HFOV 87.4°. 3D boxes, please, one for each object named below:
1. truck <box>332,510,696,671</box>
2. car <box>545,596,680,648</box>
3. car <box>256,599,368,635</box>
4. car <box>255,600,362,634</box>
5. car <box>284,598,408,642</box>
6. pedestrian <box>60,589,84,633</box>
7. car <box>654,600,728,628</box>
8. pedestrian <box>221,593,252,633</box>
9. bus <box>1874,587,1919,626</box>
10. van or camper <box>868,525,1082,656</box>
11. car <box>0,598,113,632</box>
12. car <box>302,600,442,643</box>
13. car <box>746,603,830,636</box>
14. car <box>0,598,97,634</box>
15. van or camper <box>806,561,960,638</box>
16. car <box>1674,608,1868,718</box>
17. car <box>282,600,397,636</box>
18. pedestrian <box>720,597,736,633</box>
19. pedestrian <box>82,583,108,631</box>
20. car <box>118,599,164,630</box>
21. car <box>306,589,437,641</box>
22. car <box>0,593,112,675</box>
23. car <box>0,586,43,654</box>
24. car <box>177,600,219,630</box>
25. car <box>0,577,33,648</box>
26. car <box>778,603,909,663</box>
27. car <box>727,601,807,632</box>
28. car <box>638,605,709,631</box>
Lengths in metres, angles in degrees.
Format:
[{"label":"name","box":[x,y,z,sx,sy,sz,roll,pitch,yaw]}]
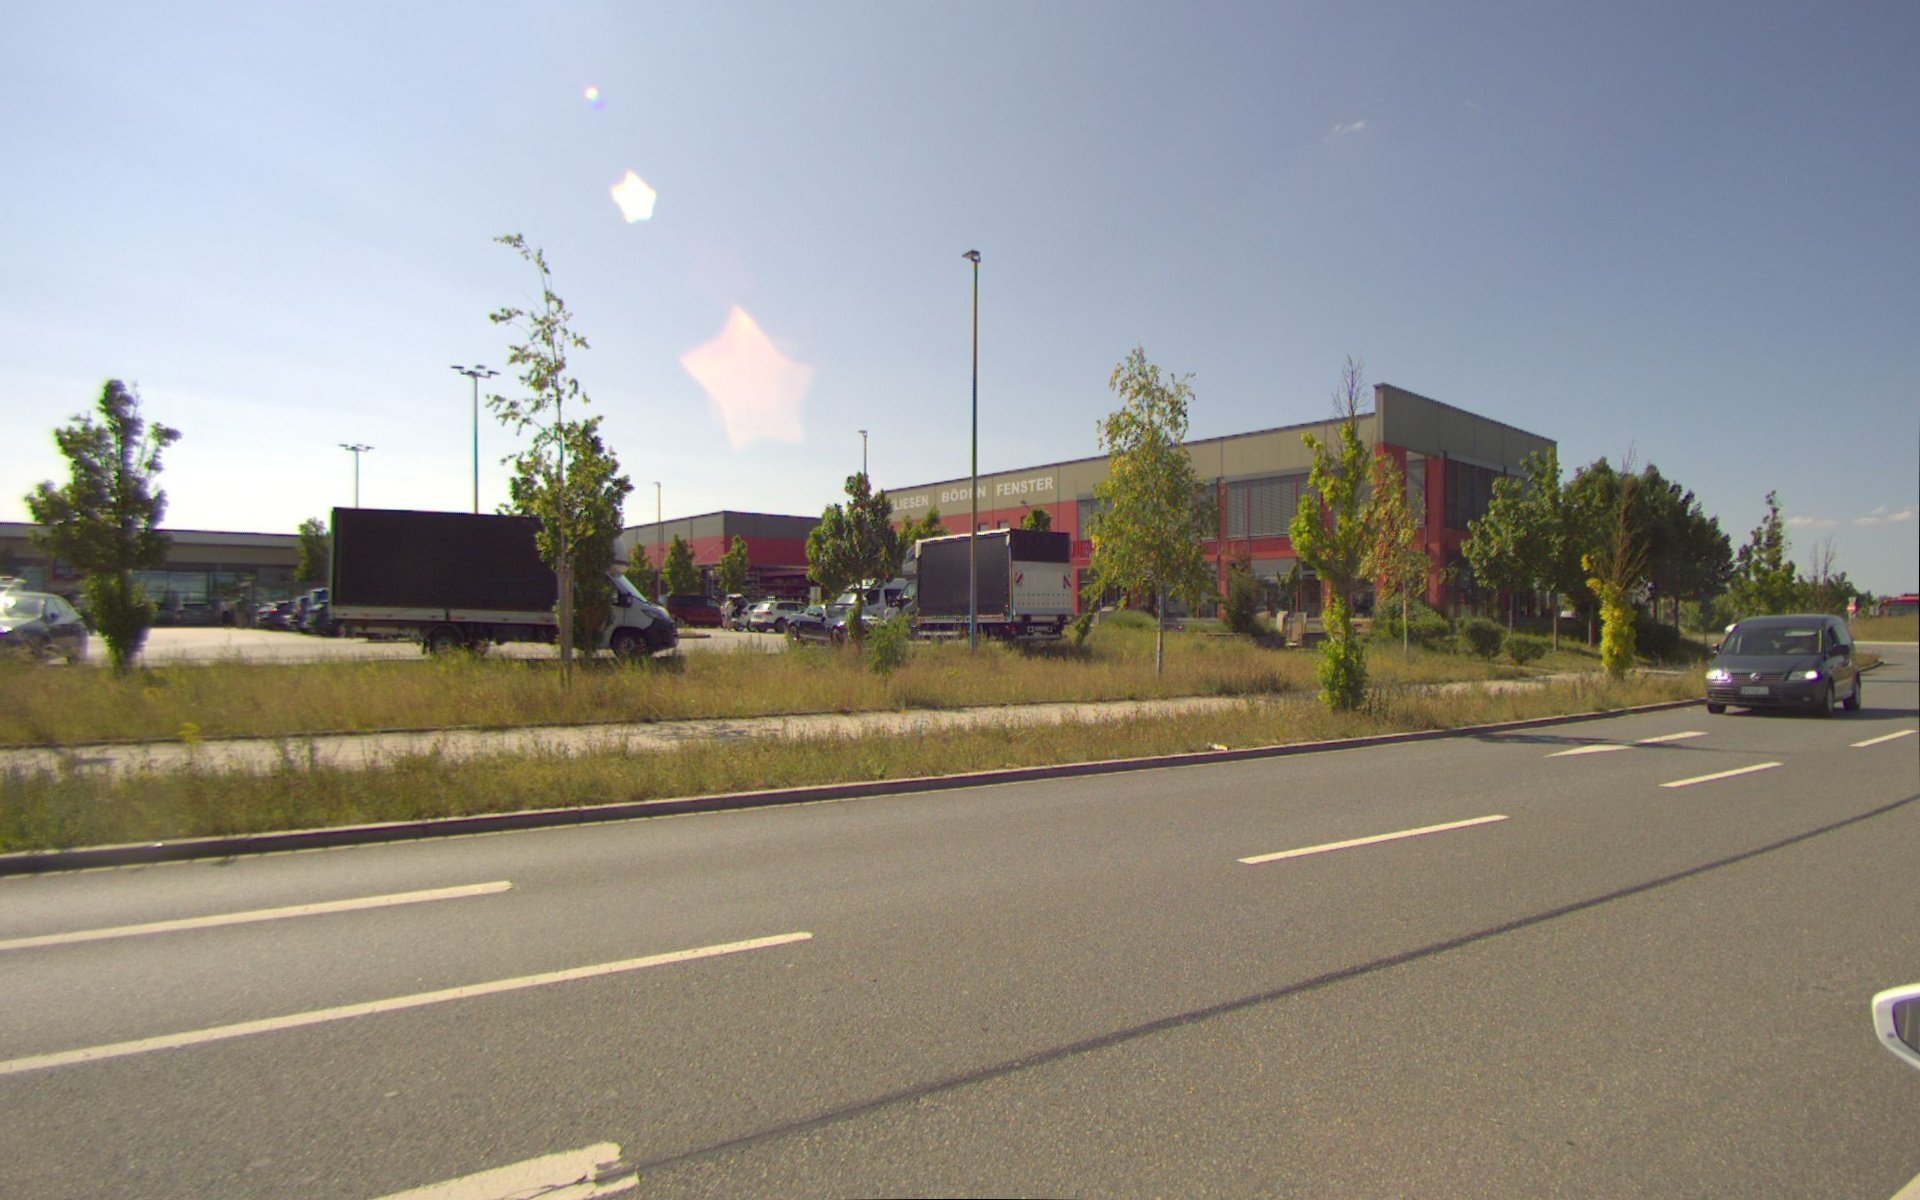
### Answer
[{"label":"truck","box":[-10.125,-0.151,23.498,7.356,3.510,2.321,1,-1,-8]},{"label":"car","box":[-12.703,0.806,36.916,4.351,1.797,1.814,1,-1,-44]},{"label":"car","box":[-31.279,0.837,48.556,4.347,1.654,1.816,1,-1,-41]},{"label":"car","box":[-32.994,0.854,50.912,4.347,1.644,1.816,1,-1,-41]},{"label":"car","box":[-26.515,0.881,43.469,4.347,1.797,1.816,1,-1,-41]},{"label":"pedestrian","box":[-36.670,0.460,41.494,0.714,1.772,0.653,1,-1,-40]},{"label":"car","box":[-16.227,0.872,60.709,4.055,1.608,1.645,1,-1,-44]},{"label":"pedestrian","box":[-38.086,0.687,52.878,1.241,2.075,1.079,1,-1,-41]},{"label":"bus","box":[82.889,0.412,84.351,11.994,3.120,2.789,-2,-1,-14]},{"label":"van or camper","box":[0.206,-0.191,30.895,2.531,3.514,7.639,1,-1,-36]},{"label":"car","box":[-44.023,0.738,48.805,4.347,1.623,1.816,1,-1,-41]},{"label":"car","box":[-22.634,0.835,38.769,4.351,1.583,1.814,1,-1,-44]},{"label":"car","box":[-8.843,1.000,51.801,4.056,1.636,1.644,1,-1,-44]},{"label":"car","box":[-42.496,0.724,46.106,4.347,1.613,1.816,1,-1,-41]},{"label":"van or camper","box":[-3.444,0.061,46.652,7.182,3.314,2.407,1,-1,-42]},{"label":"car","box":[15.253,1.098,18.810,4.389,1.818,1.936,1,-2,-39]},{"label":"car","box":[-28.956,0.859,46.928,4.347,1.613,1.816,1,-1,-41]},{"label":"pedestrian","box":[-12.254,0.799,52.987,0.657,1.865,0.473,1,-1,-44]},{"label":"pedestrian","box":[-32.429,0.265,37.657,0.714,1.772,0.653,1,-1,-40]},{"label":"car","box":[-49.475,0.896,60.738,1.982,1.808,3.957,1,-1,-37]},{"label":"car","box":[-23.959,0.631,40.981,4.347,2.021,1.816,1,-1,-41]},{"label":"car","box":[-18.031,0.605,19.033,1.949,1.402,4.409,1,-1,-26]},{"label":"car","box":[-27.750,0.516,27.108,4.347,1.848,1.816,1,-1,-41]},{"label":"car","box":[-47.311,0.935,62.361,1.982,1.808,3.957,1,-1,-37]},{"label":"car","box":[-29.847,0.348,29.058,4.347,2.092,1.816,1,-1,-41]},{"label":"car","box":[-3.406,0.895,28.685,1.821,1.573,4.336,1,-1,-37]},{"label":"car","box":[-10.448,0.918,54.534,4.056,1.636,1.644,1,-1,-44]},{"label":"car","box":[-18.233,1.167,63.971,4.055,1.598,1.645,1,-1,-44]}]
